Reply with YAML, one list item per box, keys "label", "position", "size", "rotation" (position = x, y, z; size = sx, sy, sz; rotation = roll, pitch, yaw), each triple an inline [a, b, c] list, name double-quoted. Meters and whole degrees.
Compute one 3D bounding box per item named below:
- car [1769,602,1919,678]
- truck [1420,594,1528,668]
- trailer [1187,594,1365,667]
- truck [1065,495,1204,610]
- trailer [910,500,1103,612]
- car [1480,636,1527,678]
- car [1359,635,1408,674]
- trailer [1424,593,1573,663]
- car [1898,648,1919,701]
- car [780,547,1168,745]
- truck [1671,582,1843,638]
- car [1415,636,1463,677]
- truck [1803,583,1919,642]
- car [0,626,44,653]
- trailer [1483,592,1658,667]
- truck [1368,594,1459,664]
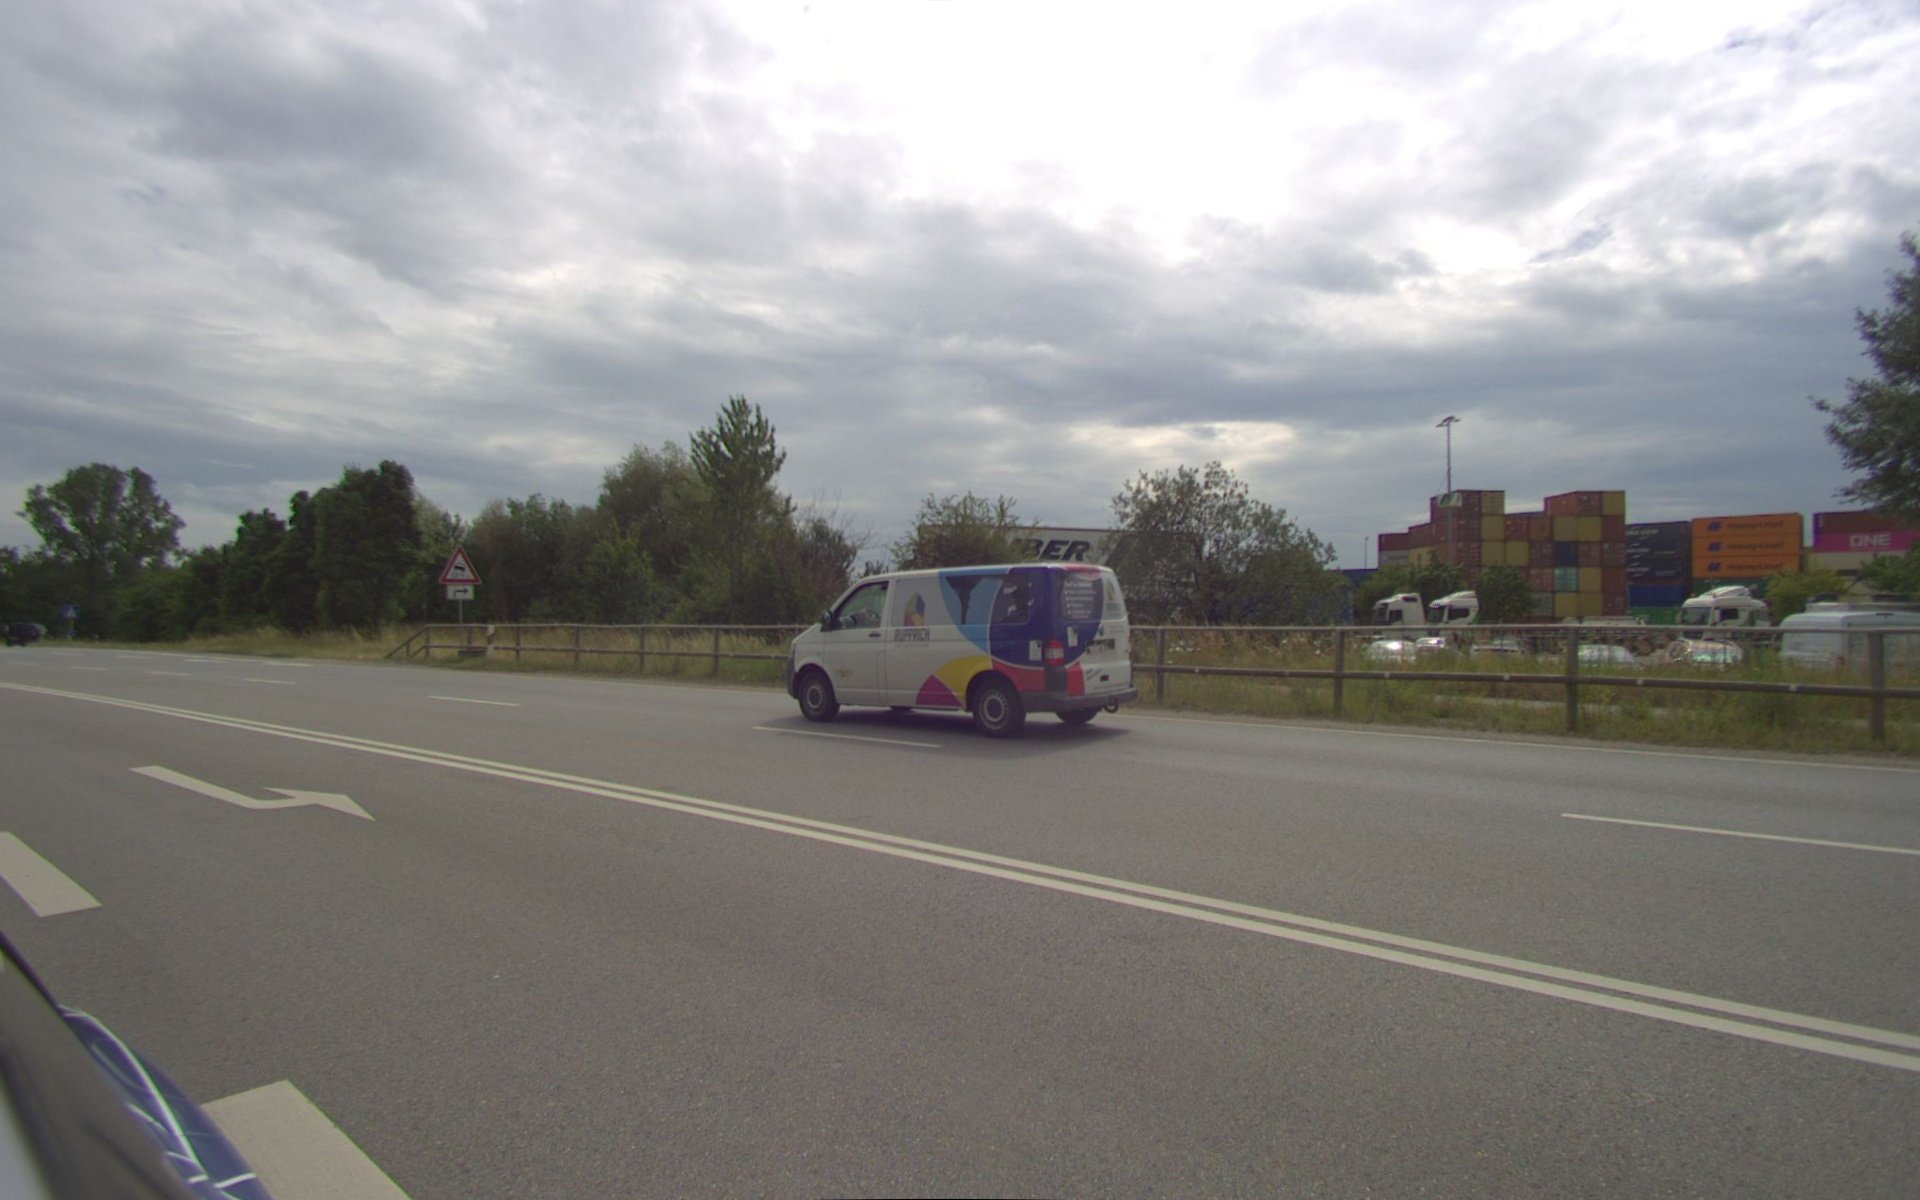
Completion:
- label: "car"
  position: [23.245, 0.972, 26.384]
  size: [1.986, 1.747, 4.553]
  rotation: [-2, 0, 21]
- label: "truck"
  position: [31.326, 1.860, 61.794]
  size: [5.353, 4.325, 2.199]
  rotation: [-1, -1, -1]
- label: "trailer"
  position: [20.035, 1.934, 64.430]
  size: [10.361, 4.325, 3.210]
  rotation: [-1, -1, 30]
- label: "truck"
  position: [8.231, -2.125, 47.452]
  size: [6.133, 5.034, 2.790]
  rotation: [-1, 0, 16]
- label: "trailer"
  position: [2.261, -2.017, 49.149]
  size: [8.902, 5.034, 2.793]
  rotation: [-1, 0, 16]
- label: "car"
  position: [25.219, 2.620, 47.017]
  size: [1.836, 1.732, 3.962]
  rotation: [-1, -1, 28]
- label: "car"
  position: [20.978, 2.649, 50.091]
  size: [1.836, 1.732, 3.962]
  rotation: [-1, -1, 28]
- label: "trailer"
  position: [34.809, 1.801, 65.581]
  size: [8.379, 4.325, 2.199]
  rotation: [-1, -1, -1]
- label: "car"
  position: [35.149, 2.654, 36.136]
  size: [1.840, 1.732, 3.953]
  rotation: [-2, -1, 34]
- label: "car"
  position: [0.026, 0.517, 12.673]
  size: [4.664, 2.029, 1.973]
  rotation: [-2, -1, 40]
- label: "truck"
  position: [41.272, 0.532, 52.571]
  size: [6.570, 2.703, 2.649]
  rotation: [-1, -1, 5]
- label: "car"
  position: [22.799, 2.638, 48.089]
  size: [1.836, 1.732, 3.962]
  rotation: [-1, -1, 28]
- label: "truck"
  position: [45.284, 0.589, 48.922]
  size: [6.566, 2.703, 2.651]
  rotation: [-1, -1, 3]
- label: "car"
  position: [-68.425, 2.856, 73.579]
  size: [1.966, 1.811, 4.331]
  rotation: [-1, -1, -33]
- label: "trailer"
  position: [37.235, 1.789, 61.854]
  size: [9.244, 4.325, 2.199]
  rotation: [-1, -1, -1]
- label: "truck"
  position: [29.283, 1.868, 65.511]
  size: [4.785, 4.325, 2.199]
  rotation: [-1, -1, -1]
